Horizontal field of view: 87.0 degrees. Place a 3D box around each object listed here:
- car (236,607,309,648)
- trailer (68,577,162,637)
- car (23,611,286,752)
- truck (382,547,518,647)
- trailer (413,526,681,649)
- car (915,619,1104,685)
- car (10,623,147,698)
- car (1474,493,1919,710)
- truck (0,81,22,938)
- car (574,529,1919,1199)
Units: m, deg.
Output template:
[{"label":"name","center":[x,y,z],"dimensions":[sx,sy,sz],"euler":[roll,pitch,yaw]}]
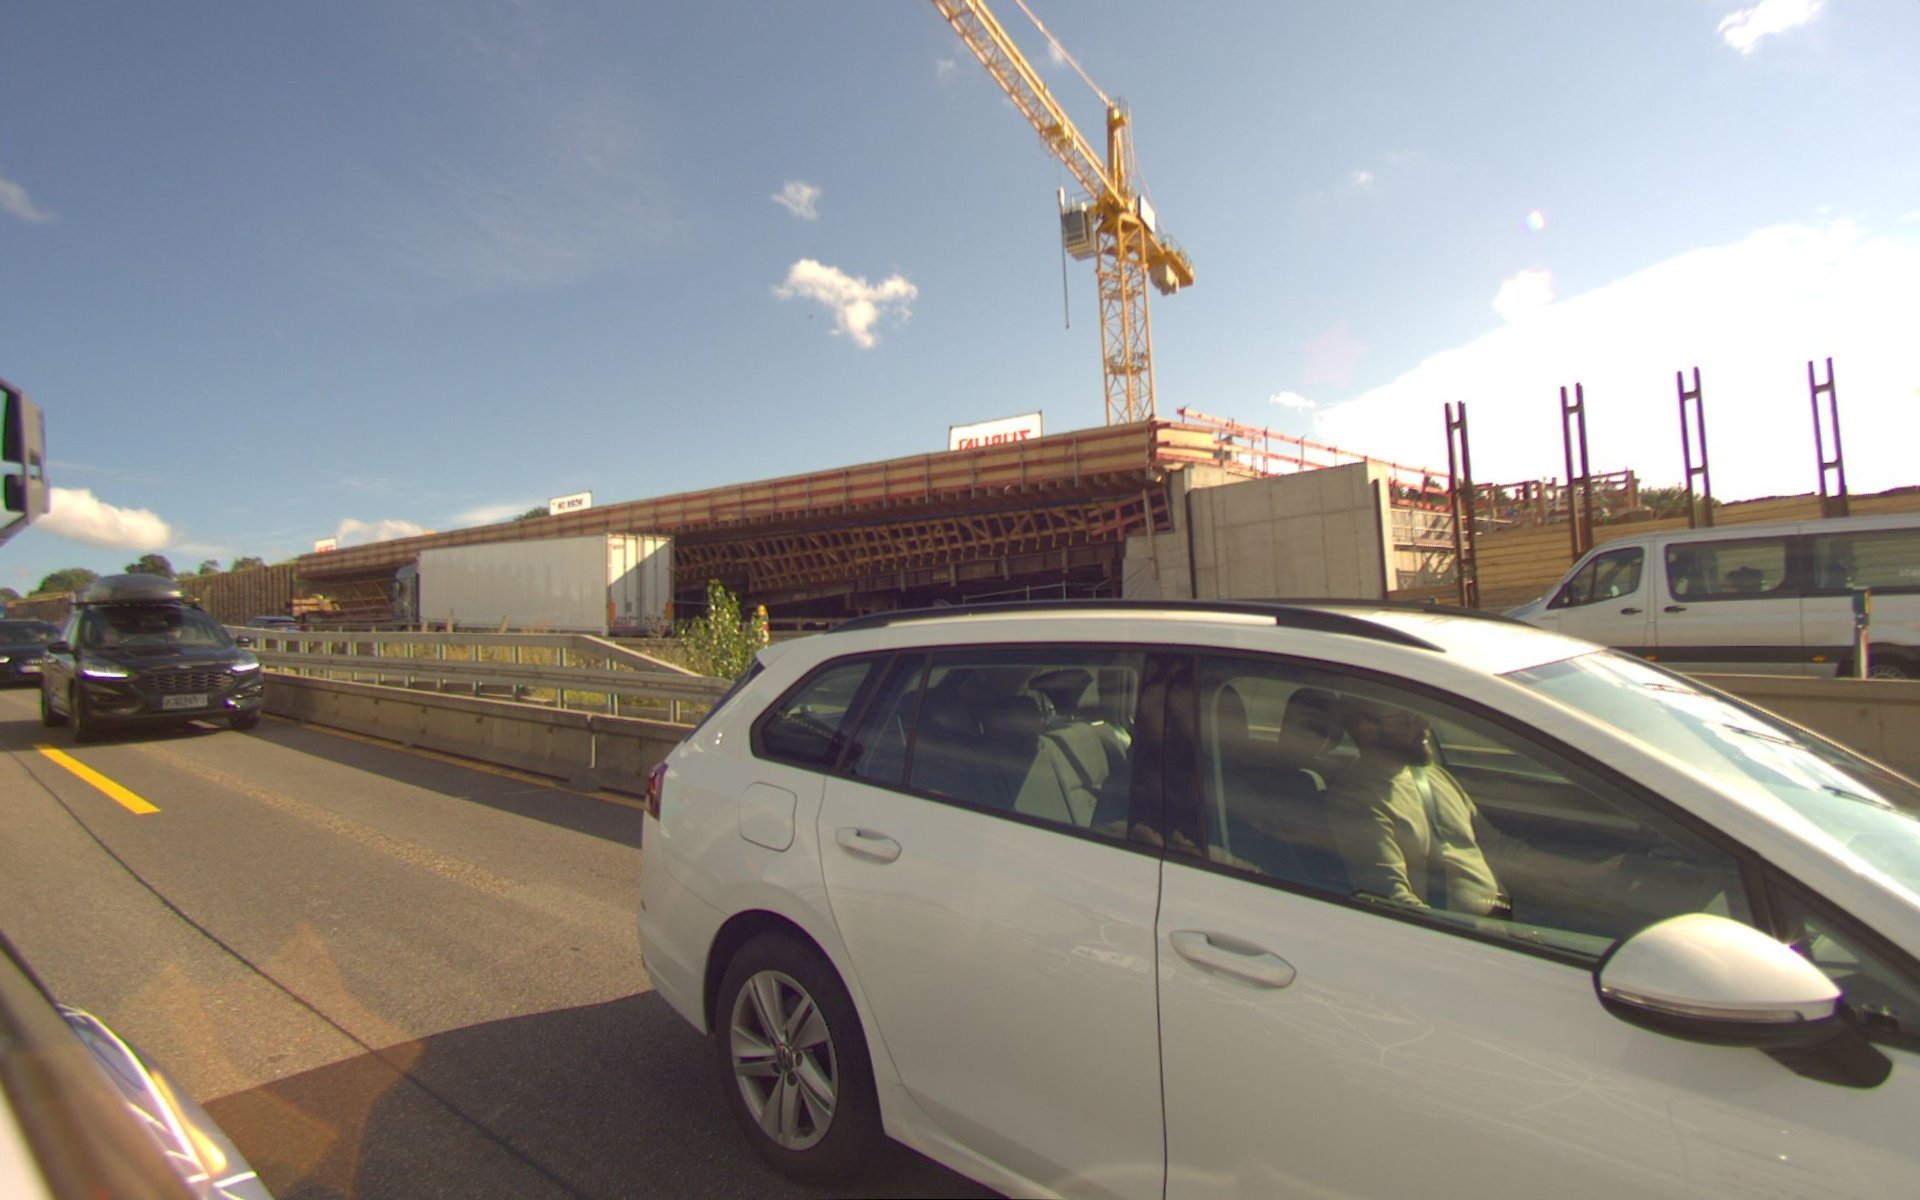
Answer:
[{"label":"car","center":[-31.295,1.214,46.049],"dimensions":[4.124,1.739,1.971],"euler":[-1,0,45]},{"label":"trailer","center":[-63.836,0.552,76.271],"dimensions":[13.794,4.187,2.662],"euler":[-1,0,39]},{"label":"car","center":[-10.762,0.938,13.411],"dimensions":[4.378,1.554,1.782],"euler":[0,0,38]},{"label":"truck","center":[-20.972,-0.100,41.524],"dimensions":[6.012,3.817,2.749],"euler":[-1,0,39]},{"label":"trailer","center":[-15.614,-0.350,37.183],"dimensions":[13.787,3.870,2.793],"euler":[-1,0,39]},{"label":"car","center":[1.042,1.095,22.668],"dimensions":[4.001,1.282,1.898],"euler":[-1,0,44]},{"label":"car","center":[-20.513,1.322,23.478],"dimensions":[4.505,1.441,1.923],"euler":[0,1,43]},{"label":"car","center":[10.352,0.015,13.445],"dimensions":[2.230,2.420,5.877],"euler":[-1,0,-40]},{"label":"truck","center":[-8.952,-0.364,7.172],"dimensions":[10.318,3.876,2.628],"euler":[-1,0,43]},{"label":"car","center":[1.078,0.702,2.265],"dimensions":[4.515,1.502,1.751],"euler":[-2,-2,42]}]
